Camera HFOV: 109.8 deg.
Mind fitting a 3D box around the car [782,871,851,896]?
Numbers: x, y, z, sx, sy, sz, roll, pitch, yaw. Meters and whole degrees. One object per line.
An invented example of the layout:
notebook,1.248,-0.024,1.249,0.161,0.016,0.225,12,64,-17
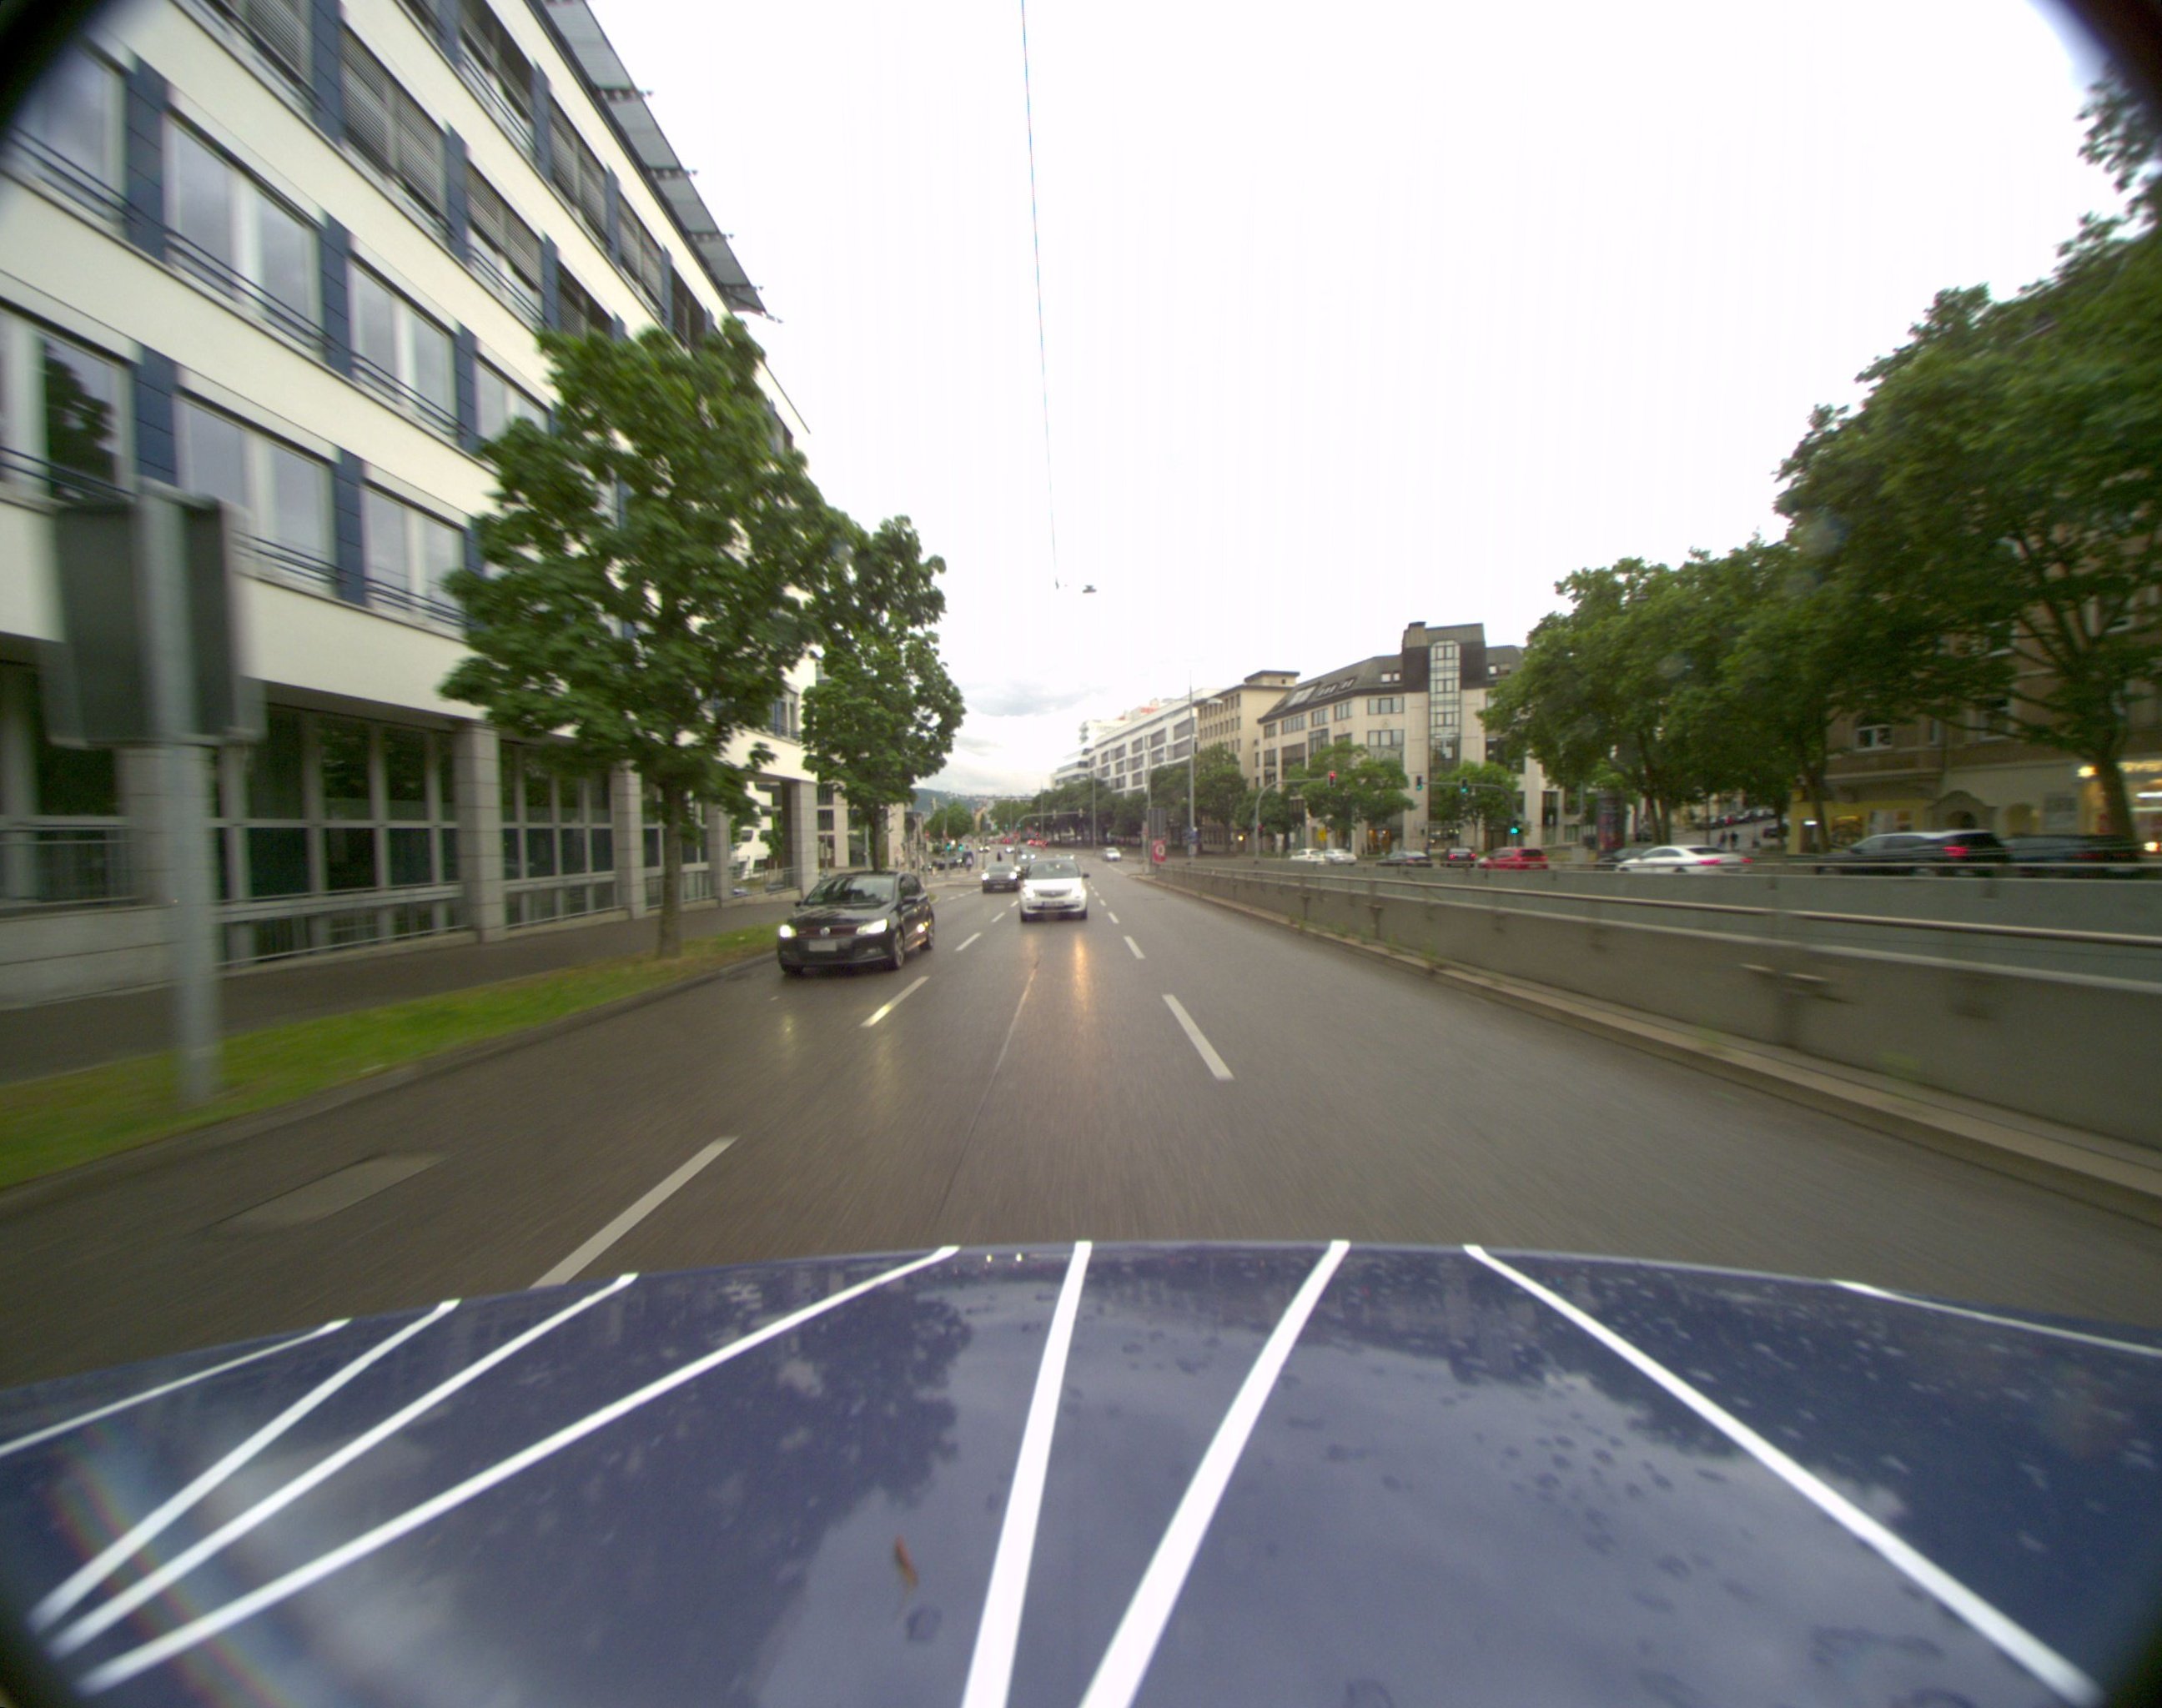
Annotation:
car,-19.991,2.204,57.558,4.483,1.383,1.855,-5,2,-3

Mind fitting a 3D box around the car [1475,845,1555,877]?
car,21.165,0.302,37.202,1.589,1.393,3.879,-2,1,-2

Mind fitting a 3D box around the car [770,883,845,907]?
car,-18.369,2.735,51.066,4.477,1.382,1.858,0,2,15

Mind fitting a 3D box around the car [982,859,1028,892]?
car,-3.713,1.018,37.535,1.751,1.433,3.706,-3,1,1

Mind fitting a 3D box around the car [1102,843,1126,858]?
car,4.050,-0.420,93.748,1.800,1.733,3.995,-3,1,-13

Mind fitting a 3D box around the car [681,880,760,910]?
car,-24.905,2.855,52.643,4.481,1.659,1.856,-4,2,3

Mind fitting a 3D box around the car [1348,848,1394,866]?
car,24.472,0.224,64.288,1.800,1.501,3.995,-1,1,-11

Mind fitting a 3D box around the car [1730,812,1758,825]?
car,86.183,-4.616,98.753,4.006,1.502,1.795,-3,1,-36

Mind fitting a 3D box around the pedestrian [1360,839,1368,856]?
pedestrian,30.057,-0.703,80.682,0.604,1.774,0.526,-3,2,-8

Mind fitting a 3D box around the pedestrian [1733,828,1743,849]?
pedestrian,57.666,-1.374,66.640,0.632,1.799,0.675,-1,2,42

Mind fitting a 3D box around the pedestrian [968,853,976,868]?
pedestrian,-10.928,0.678,75.925,0.588,1.469,0.603,-3,2,-22

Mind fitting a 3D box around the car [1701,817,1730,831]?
car,77.451,-3.671,92.695,4.006,1.502,1.795,-3,1,-36

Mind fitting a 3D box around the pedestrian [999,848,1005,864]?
pedestrian,-9.000,0.252,86.728,0.604,1.792,0.587,-3,2,-8

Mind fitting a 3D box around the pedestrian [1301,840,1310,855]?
pedestrian,27.049,-0.760,91.409,0.835,1.774,0.615,-3,2,-8

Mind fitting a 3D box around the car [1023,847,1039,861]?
car,-7.222,0.032,109.213,1.800,1.934,3.996,-3,1,-9

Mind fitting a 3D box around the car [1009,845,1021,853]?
car,-13.270,-1.013,153.300,1.800,1.502,3.995,-3,1,-13

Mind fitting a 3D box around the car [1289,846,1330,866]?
car,18.755,0.105,62.545,1.799,1.552,3.997,-2,1,-5

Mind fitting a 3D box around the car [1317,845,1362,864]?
car,21.632,0.051,63.747,1.800,1.501,3.996,-2,1,-11

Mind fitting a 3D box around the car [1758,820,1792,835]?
car,71.270,-2.718,78.023,3.497,1.454,1.606,-3,2,-32

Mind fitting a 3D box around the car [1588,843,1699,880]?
car,24.440,0.283,33.220,1.799,1.501,3.998,-2,1,-2

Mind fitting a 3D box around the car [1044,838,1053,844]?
car,-9.043,-3.593,211.736,1.800,1.502,3.995,-3,1,-13

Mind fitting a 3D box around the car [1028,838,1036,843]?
car,-15.122,-4.189,233.151,1.800,1.502,3.995,-3,1,-13

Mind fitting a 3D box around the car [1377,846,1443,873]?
car,20.431,0.277,47.400,1.799,1.548,4.833,-2,1,-2

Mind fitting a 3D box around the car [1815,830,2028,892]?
car,24.301,0.187,22.222,1.798,1.570,4.017,-2,0,1

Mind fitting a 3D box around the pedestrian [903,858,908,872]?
pedestrian,-21.469,1.346,92.932,0.588,1.600,0.603,-3,2,-14

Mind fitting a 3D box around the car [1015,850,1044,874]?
car,-3.898,0.563,57.881,1.798,1.657,3.999,-3,1,1

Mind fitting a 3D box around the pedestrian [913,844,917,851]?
pedestrian,-31.639,-1.242,144.794,0.588,1.469,0.603,-3,2,-13

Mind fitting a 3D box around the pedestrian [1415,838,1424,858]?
pedestrian,31.819,-0.575,71.413,0.590,1.799,0.674,-2,2,6

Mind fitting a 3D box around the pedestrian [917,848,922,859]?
pedestrian,-23.617,-0.081,111.092,0.588,1.469,0.603,-3,2,-22

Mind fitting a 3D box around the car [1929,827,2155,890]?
car,26.925,0.112,21.536,1.699,1.541,4.066,-2,0,11

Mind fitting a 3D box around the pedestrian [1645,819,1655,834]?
pedestrian,64.849,-3.154,86.580,0.651,1.652,0.649,-3,2,-27

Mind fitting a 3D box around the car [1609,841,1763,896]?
car,21.190,0.434,26.912,1.798,1.760,4.731,-1,1,2

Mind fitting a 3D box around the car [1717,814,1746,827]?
car,81.609,-4.188,95.355,4.006,1.502,1.795,-3,1,-35

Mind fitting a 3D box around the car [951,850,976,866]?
car,-14.717,0.488,95.668,1.797,1.851,4.294,-2,1,9

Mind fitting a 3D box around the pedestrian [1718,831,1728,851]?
pedestrian,56.929,-1.144,67.373,0.632,1.799,0.675,-1,2,42

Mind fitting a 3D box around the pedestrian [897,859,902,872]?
pedestrian,-22.219,1.400,92.954,0.588,1.600,0.603,-3,2,-14

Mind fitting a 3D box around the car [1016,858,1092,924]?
car,-0.649,0.905,20.347,1.799,1.528,3.999,-1,0,0

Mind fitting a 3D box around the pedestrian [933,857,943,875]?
pedestrian,-12.661,1.056,67.437,0.707,1.615,0.644,-2,2,1

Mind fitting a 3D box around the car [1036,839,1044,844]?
car,-11.810,-3.592,218.218,1.800,1.502,3.995,-3,1,-13

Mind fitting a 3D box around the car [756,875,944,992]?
car,-3.389,1.099,11.933,1.678,1.391,3.849,-2,0,1

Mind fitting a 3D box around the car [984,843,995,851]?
car,-19.803,-1.475,164.076,1.800,1.502,3.995,-3,1,-13

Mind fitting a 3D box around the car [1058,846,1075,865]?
car,-1.580,0.143,84.292,1.799,2.021,3.999,-3,1,-1

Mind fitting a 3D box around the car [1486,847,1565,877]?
car,23.968,0.406,41.155,1.799,1.501,3.998,-2,1,-2

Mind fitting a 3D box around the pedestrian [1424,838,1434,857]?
pedestrian,32.676,-0.626,71.298,0.590,1.799,0.674,-2,2,6

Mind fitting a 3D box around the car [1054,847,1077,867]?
car,-1.386,0.271,67.870,1.798,1.657,3.999,-3,1,1
